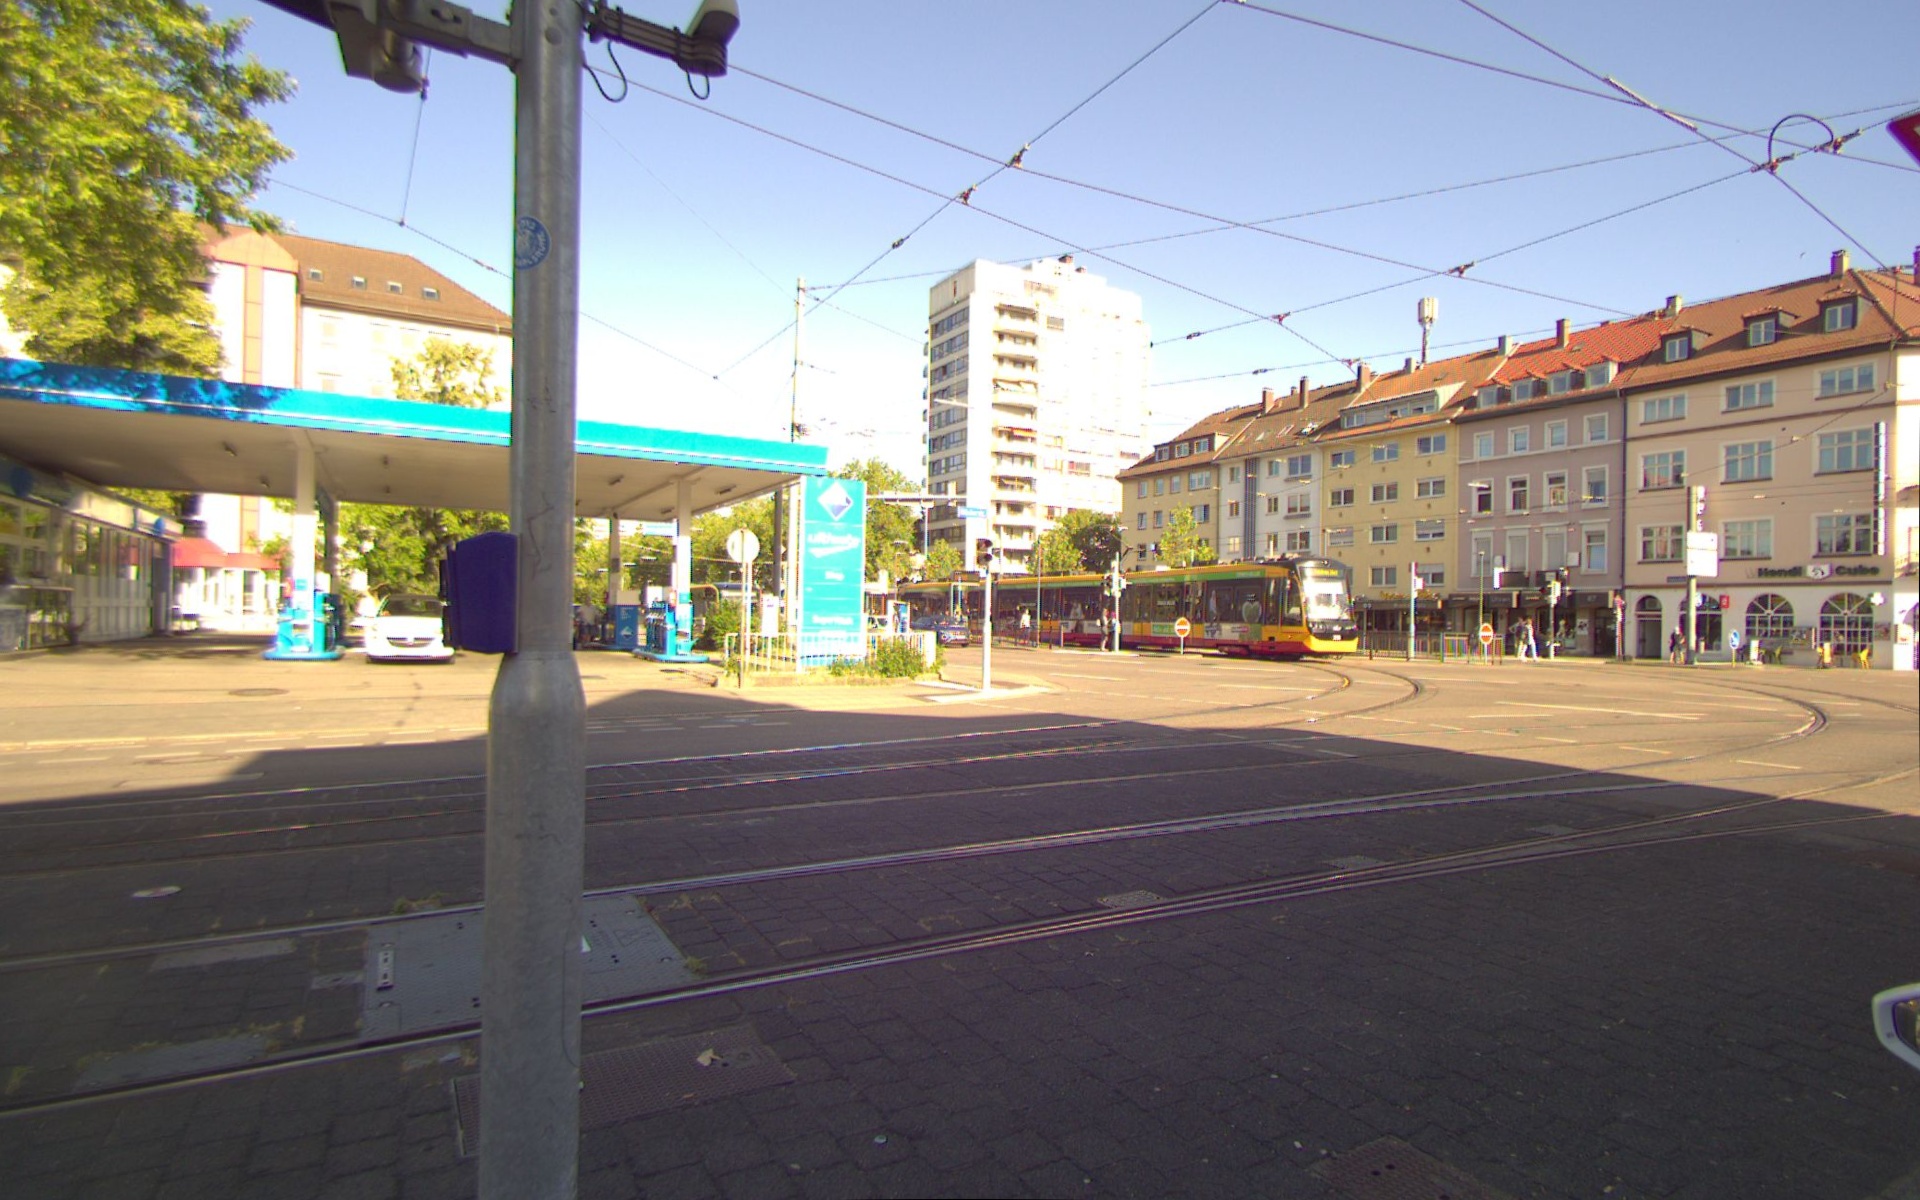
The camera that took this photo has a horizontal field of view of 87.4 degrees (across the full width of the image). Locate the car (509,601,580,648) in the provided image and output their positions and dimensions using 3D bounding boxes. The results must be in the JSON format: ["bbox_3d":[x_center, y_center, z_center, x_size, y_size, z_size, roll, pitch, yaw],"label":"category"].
[{"bbox_3d":[-13.547,0.780,32.677,1.737,1.461,3.543,1,-1,-29],"label":"car"}]

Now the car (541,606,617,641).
[{"bbox_3d":[-16.861,1.037,44.602,1.722,1.461,3.572,1,-1,5],"label":"car"}]

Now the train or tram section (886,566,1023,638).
[{"bbox_3d":[-0.635,0.172,60.427,2.905,3.864,12.031,1,-1,-28],"label":"train or tram section"}]

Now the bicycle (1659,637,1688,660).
[{"bbox_3d":[34.031,2.322,47.918,1.479,1.091,0.570,2,0,-30],"label":"bicycle"}]

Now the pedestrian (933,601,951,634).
[{"bbox_3d":[-0.974,0.952,54.630,0.747,1.756,0.797,0,0,-28],"label":"pedestrian"}]

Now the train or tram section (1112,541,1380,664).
[{"bbox_3d":[10.140,0.169,38.221,2.896,3.864,12.998,1,-1,-19],"label":"train or tram section"}]

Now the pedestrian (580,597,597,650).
[{"bbox_3d":[-12.205,0.768,32.988,0.492,1.724,0.498,1,-1,-20],"label":"pedestrian"}]

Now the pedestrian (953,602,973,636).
[{"bbox_3d":[0.151,0.976,52.742,0.747,1.756,0.797,0,0,-28],"label":"pedestrian"}]

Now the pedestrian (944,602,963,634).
[{"bbox_3d":[-0.339,0.972,54.854,0.747,1.756,0.797,0,0,-28],"label":"pedestrian"}]

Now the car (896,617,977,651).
[{"bbox_3d":[-1.161,1.612,48.369,1.875,1.550,3.955,1,-2,-39],"label":"car"}]

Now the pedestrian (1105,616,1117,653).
[{"bbox_3d":[6.154,1.402,40.968,0.472,1.525,0.462,0,0,6],"label":"pedestrian"}]

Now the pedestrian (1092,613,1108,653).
[{"bbox_3d":[5.856,1.388,41.968,0.626,1.666,0.462,0,0,6],"label":"pedestrian"}]

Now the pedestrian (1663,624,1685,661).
[{"bbox_3d":[34.073,2.027,47.937,0.743,1.692,0.579,2,0,-30],"label":"pedestrian"}]

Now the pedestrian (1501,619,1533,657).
[{"bbox_3d":[24.433,1.665,44.074,0.821,1.598,0.847,2,0,-20],"label":"pedestrian"}]

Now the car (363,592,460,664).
[{"bbox_3d":[-12.195,0.600,22.351,1.737,1.461,3.543,1,-1,-29],"label":"car"}]

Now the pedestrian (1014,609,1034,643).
[{"bbox_3d":[3.035,1.238,47.667,0.607,1.598,0.827,0,0,-27],"label":"pedestrian"}]

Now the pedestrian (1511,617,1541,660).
[{"bbox_3d":[21.831,1.488,38.766,0.817,1.598,0.552,2,0,-2],"label":"pedestrian"}]

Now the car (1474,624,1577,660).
[{"bbox_3d":[30.824,2.287,54.850,2.277,1.734,4.350,2,0,-27],"label":"car"}]

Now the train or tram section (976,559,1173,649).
[{"bbox_3d":[5.187,0.259,49.606,2.905,3.864,12.726,1,-1,-28],"label":"train or tram section"}]

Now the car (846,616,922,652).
[{"bbox_3d":[-3.587,1.548,46.739,1.871,1.550,3.963,1,-1,-33],"label":"car"}]

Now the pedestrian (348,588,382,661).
[{"bbox_3d":[-14.196,0.582,23.972,0.640,1.724,0.497,1,-1,-26],"label":"pedestrian"}]

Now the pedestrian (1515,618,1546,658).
[{"bbox_3d":[23.527,1.560,41.442,0.821,1.598,0.724,2,0,-20],"label":"pedestrian"}]

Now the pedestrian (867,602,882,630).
[{"bbox_3d":[-5.352,1.004,62.837,0.747,1.756,0.797,0,0,-28],"label":"pedestrian"}]
